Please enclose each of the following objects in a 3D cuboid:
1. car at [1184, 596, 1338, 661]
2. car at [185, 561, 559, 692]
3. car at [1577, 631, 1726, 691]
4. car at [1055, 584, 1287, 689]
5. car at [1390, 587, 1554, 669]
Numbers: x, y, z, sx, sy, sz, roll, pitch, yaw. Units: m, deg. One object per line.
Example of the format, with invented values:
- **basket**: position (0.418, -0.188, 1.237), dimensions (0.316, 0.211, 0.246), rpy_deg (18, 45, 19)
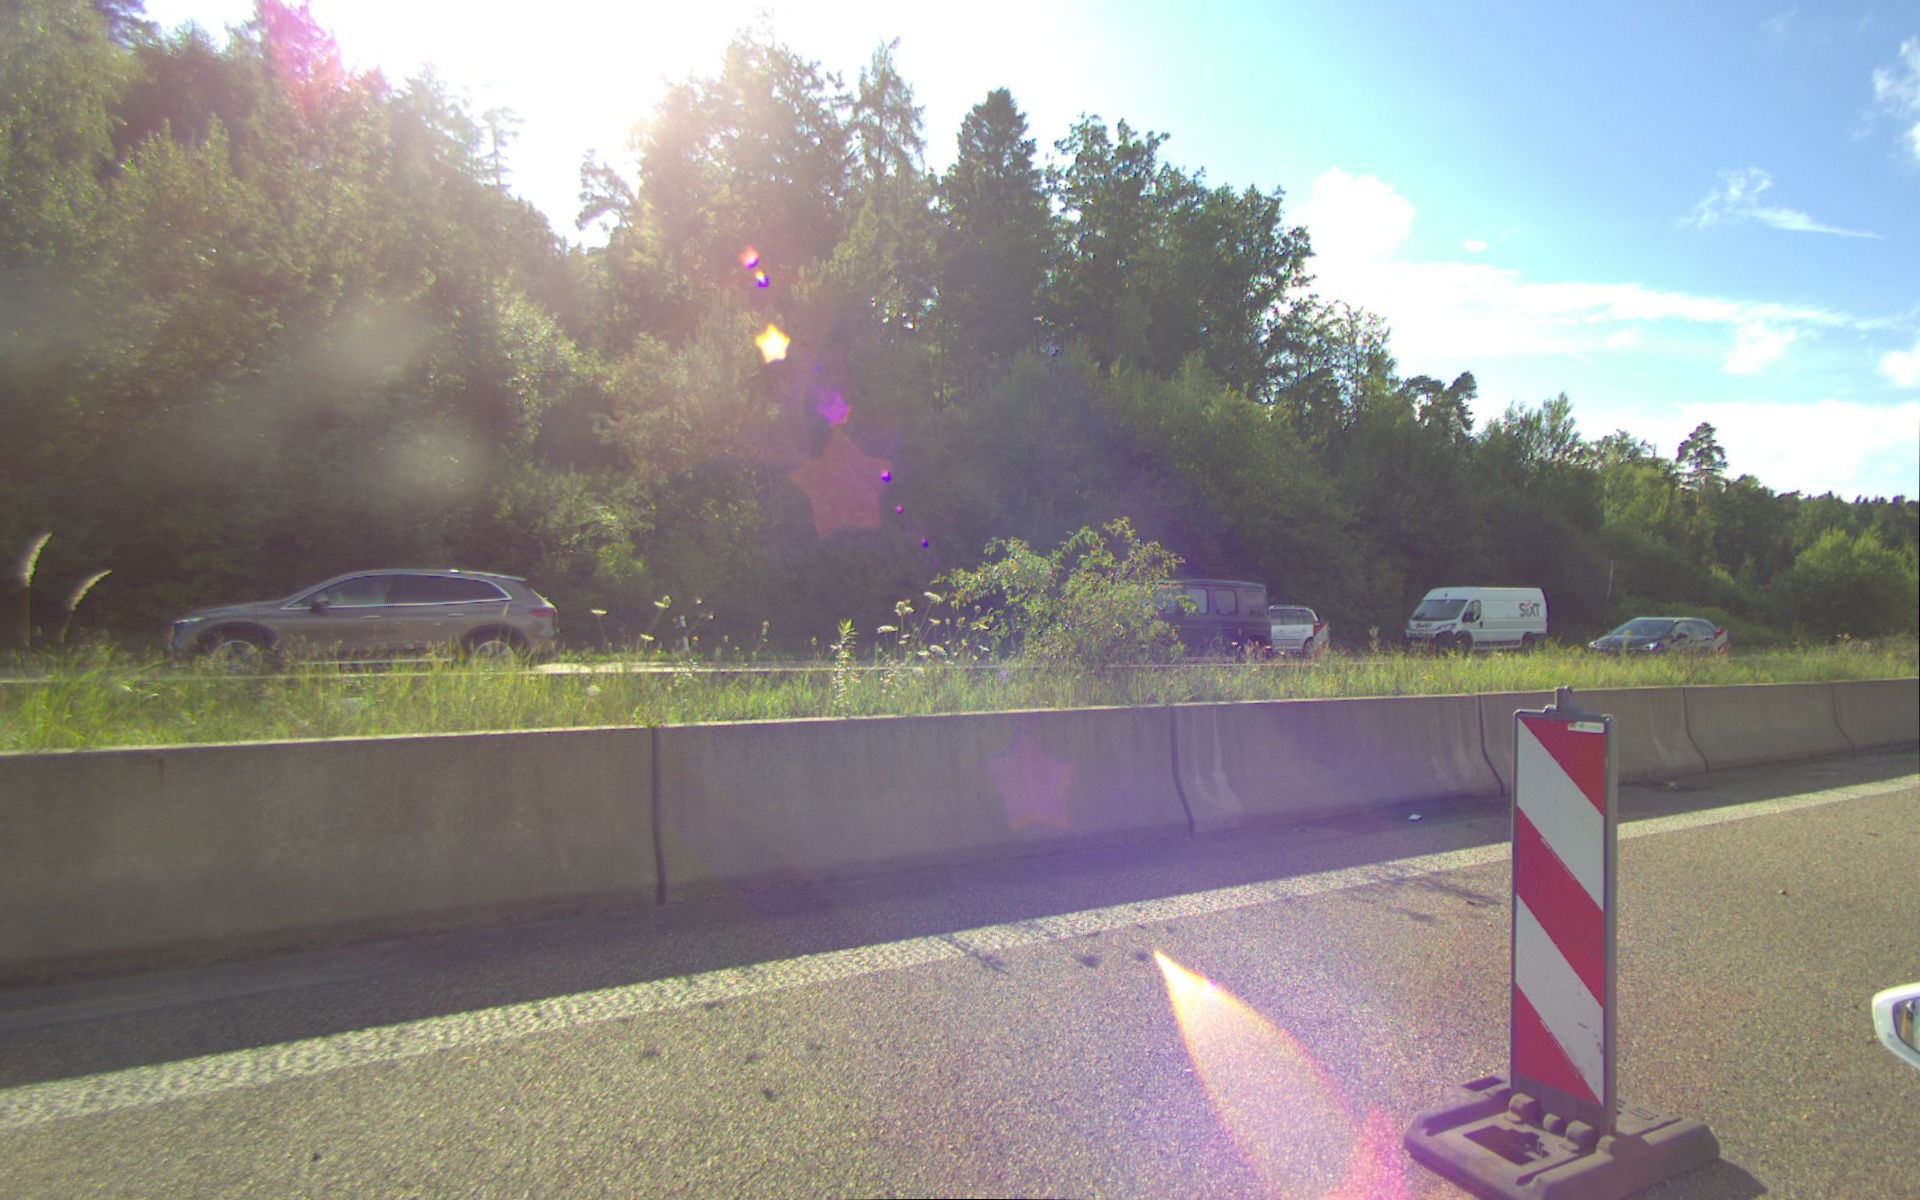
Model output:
- **car**: position (9.369, 0.901, 31.194), dimensions (4.706, 1.878, 1.851), rpy_deg (2, 0, -30)
- **car**: position (-8.595, 0.407, 15.077), dimensions (4.563, 1.711, 1.769), rpy_deg (2, 0, -30)
- **car**: position (18.773, 1.630, 27.240), dimensions (4.057, 1.476, 1.769), rpy_deg (2, 0, -30)
- **car**: position (4.315, 0.721, 20.287), dimensions (4.563, 1.928, 1.769), rpy_deg (2, 0, -30)
- **car**: position (18.334, 1.001, 35.842), dimensions (6.447, 2.720, 2.018), rpy_deg (2, 0, -31)
